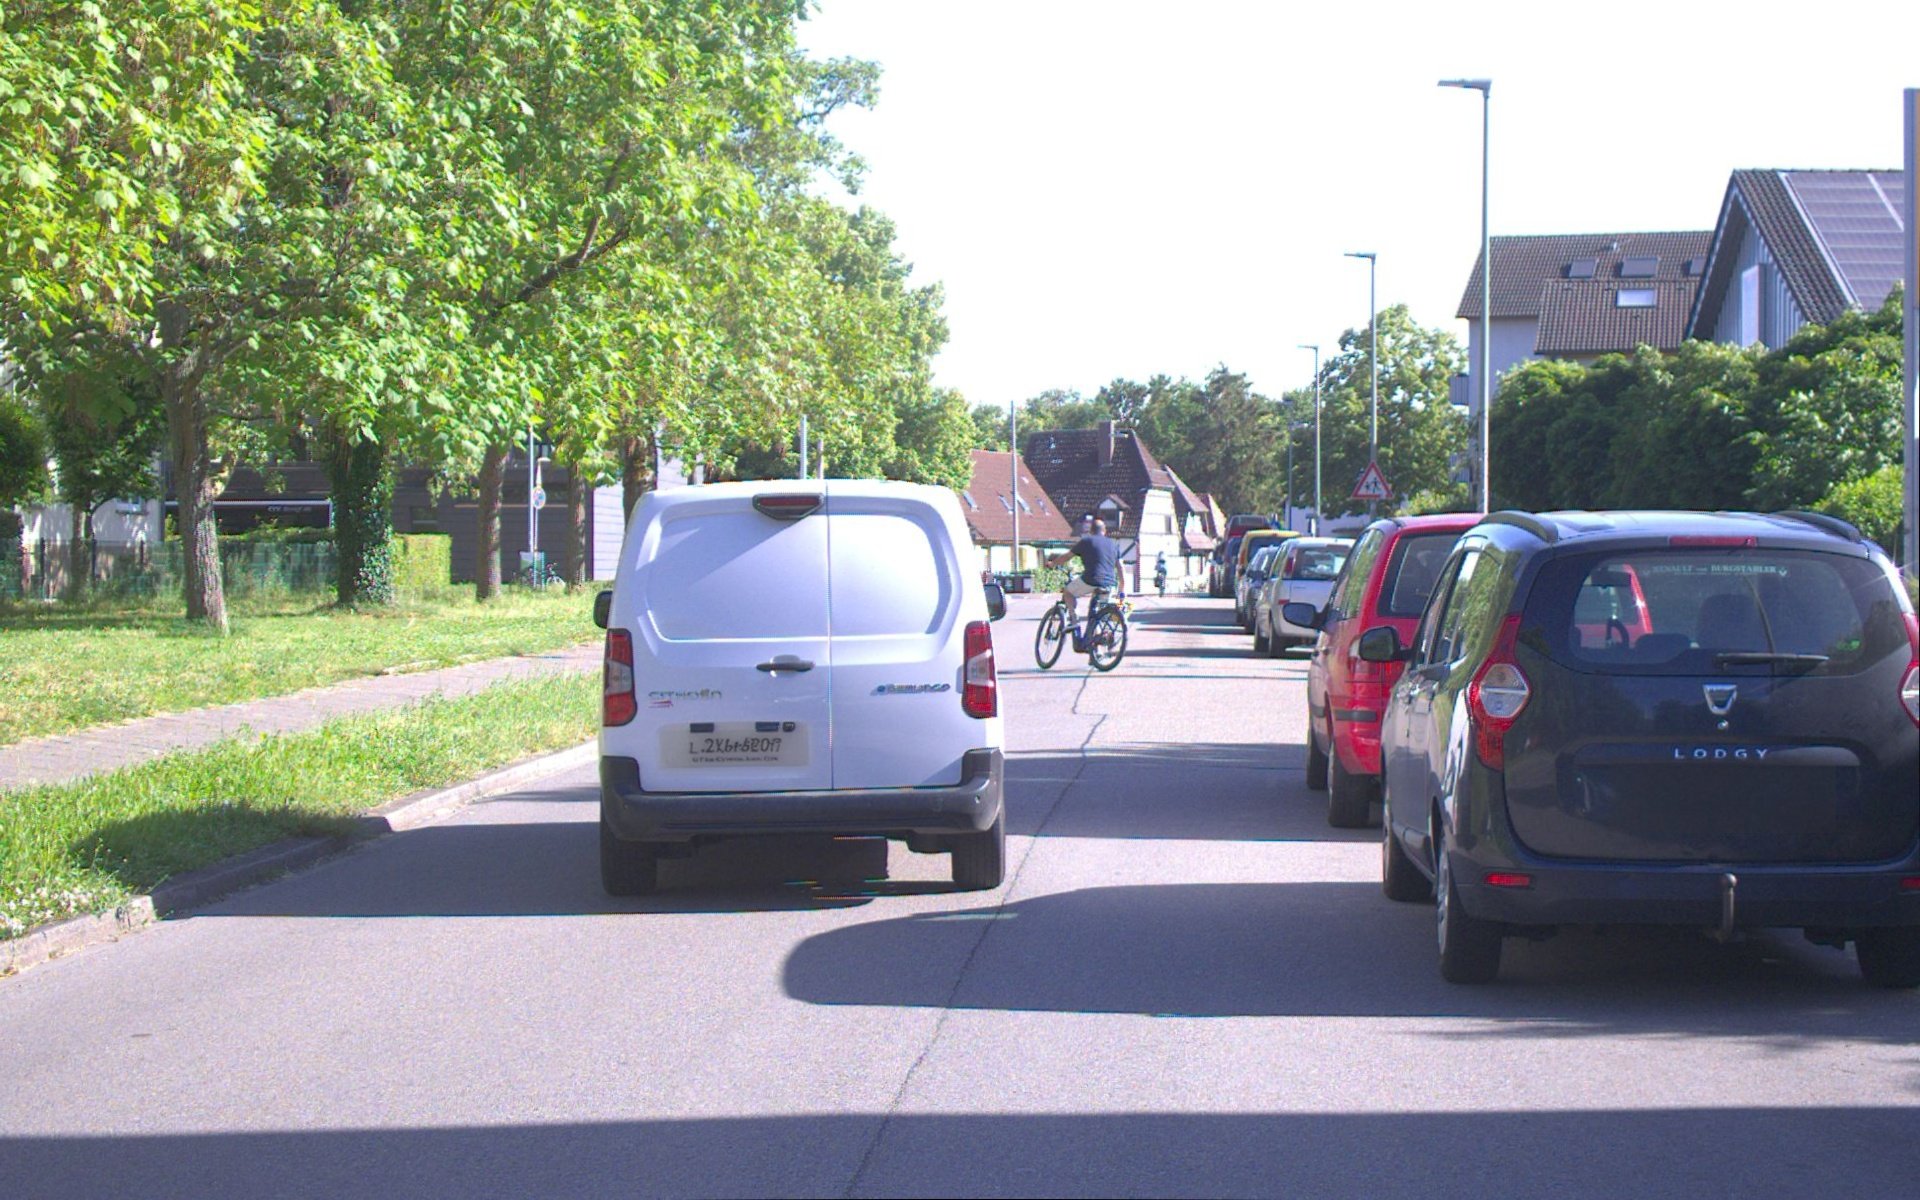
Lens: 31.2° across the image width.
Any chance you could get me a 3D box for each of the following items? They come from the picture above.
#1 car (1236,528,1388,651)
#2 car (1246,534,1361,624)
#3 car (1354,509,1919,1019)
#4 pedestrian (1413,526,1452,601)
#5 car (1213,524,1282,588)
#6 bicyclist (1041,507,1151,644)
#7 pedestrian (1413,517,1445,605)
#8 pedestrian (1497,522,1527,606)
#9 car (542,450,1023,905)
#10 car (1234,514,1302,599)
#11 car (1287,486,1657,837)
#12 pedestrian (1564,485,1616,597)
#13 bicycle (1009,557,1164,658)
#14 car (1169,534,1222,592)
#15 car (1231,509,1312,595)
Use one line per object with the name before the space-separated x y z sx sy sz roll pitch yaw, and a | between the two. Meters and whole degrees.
car | 4.759 -0.162 46.858 1.679 1.594 4.028 0 1 1
car | 5.779 -0.389 58.219 1.807 1.438 4.363 1 1 4
car | 2.505 0.485 13.338 1.725 1.651 4.352 0 1 4
pedestrian | 11.828 -0.910 86.071 0.793 1.855 0.874 0 1 -3
car | 8.533 -1.292 102.280 1.804 1.779 4.000 2 0 3
bicyclist | 1.588 -0.283 40.239 0.905 1.579 0.966 1 0 -29
pedestrian | 8.733 -0.725 63.969 0.567 1.631 0.546 0 1 9
pedestrian | 10.753 -0.703 66.944 0.567 1.631 0.546 0 1 9
car | -0.955 0.271 16.434 1.993 1.875 4.290 0 1 -6
car | 9.791 -1.362 109.454 1.866 2.553 4.767 2 0 3
car | 2.857 0.265 20.035 1.840 1.799 4.653 0 1 5
pedestrian | 10.089 -0.952 55.064 0.799 1.775 0.808 0 1 12
bicycle | 1.461 0.074 40.236 0.786 1.135 2.280 -1 1 -27
car | 8.801 -1.357 128.683 1.804 2.061 4.000 2 0 3
car | 6.830 -1.056 75.474 1.724 1.831 3.999 1 1 5
